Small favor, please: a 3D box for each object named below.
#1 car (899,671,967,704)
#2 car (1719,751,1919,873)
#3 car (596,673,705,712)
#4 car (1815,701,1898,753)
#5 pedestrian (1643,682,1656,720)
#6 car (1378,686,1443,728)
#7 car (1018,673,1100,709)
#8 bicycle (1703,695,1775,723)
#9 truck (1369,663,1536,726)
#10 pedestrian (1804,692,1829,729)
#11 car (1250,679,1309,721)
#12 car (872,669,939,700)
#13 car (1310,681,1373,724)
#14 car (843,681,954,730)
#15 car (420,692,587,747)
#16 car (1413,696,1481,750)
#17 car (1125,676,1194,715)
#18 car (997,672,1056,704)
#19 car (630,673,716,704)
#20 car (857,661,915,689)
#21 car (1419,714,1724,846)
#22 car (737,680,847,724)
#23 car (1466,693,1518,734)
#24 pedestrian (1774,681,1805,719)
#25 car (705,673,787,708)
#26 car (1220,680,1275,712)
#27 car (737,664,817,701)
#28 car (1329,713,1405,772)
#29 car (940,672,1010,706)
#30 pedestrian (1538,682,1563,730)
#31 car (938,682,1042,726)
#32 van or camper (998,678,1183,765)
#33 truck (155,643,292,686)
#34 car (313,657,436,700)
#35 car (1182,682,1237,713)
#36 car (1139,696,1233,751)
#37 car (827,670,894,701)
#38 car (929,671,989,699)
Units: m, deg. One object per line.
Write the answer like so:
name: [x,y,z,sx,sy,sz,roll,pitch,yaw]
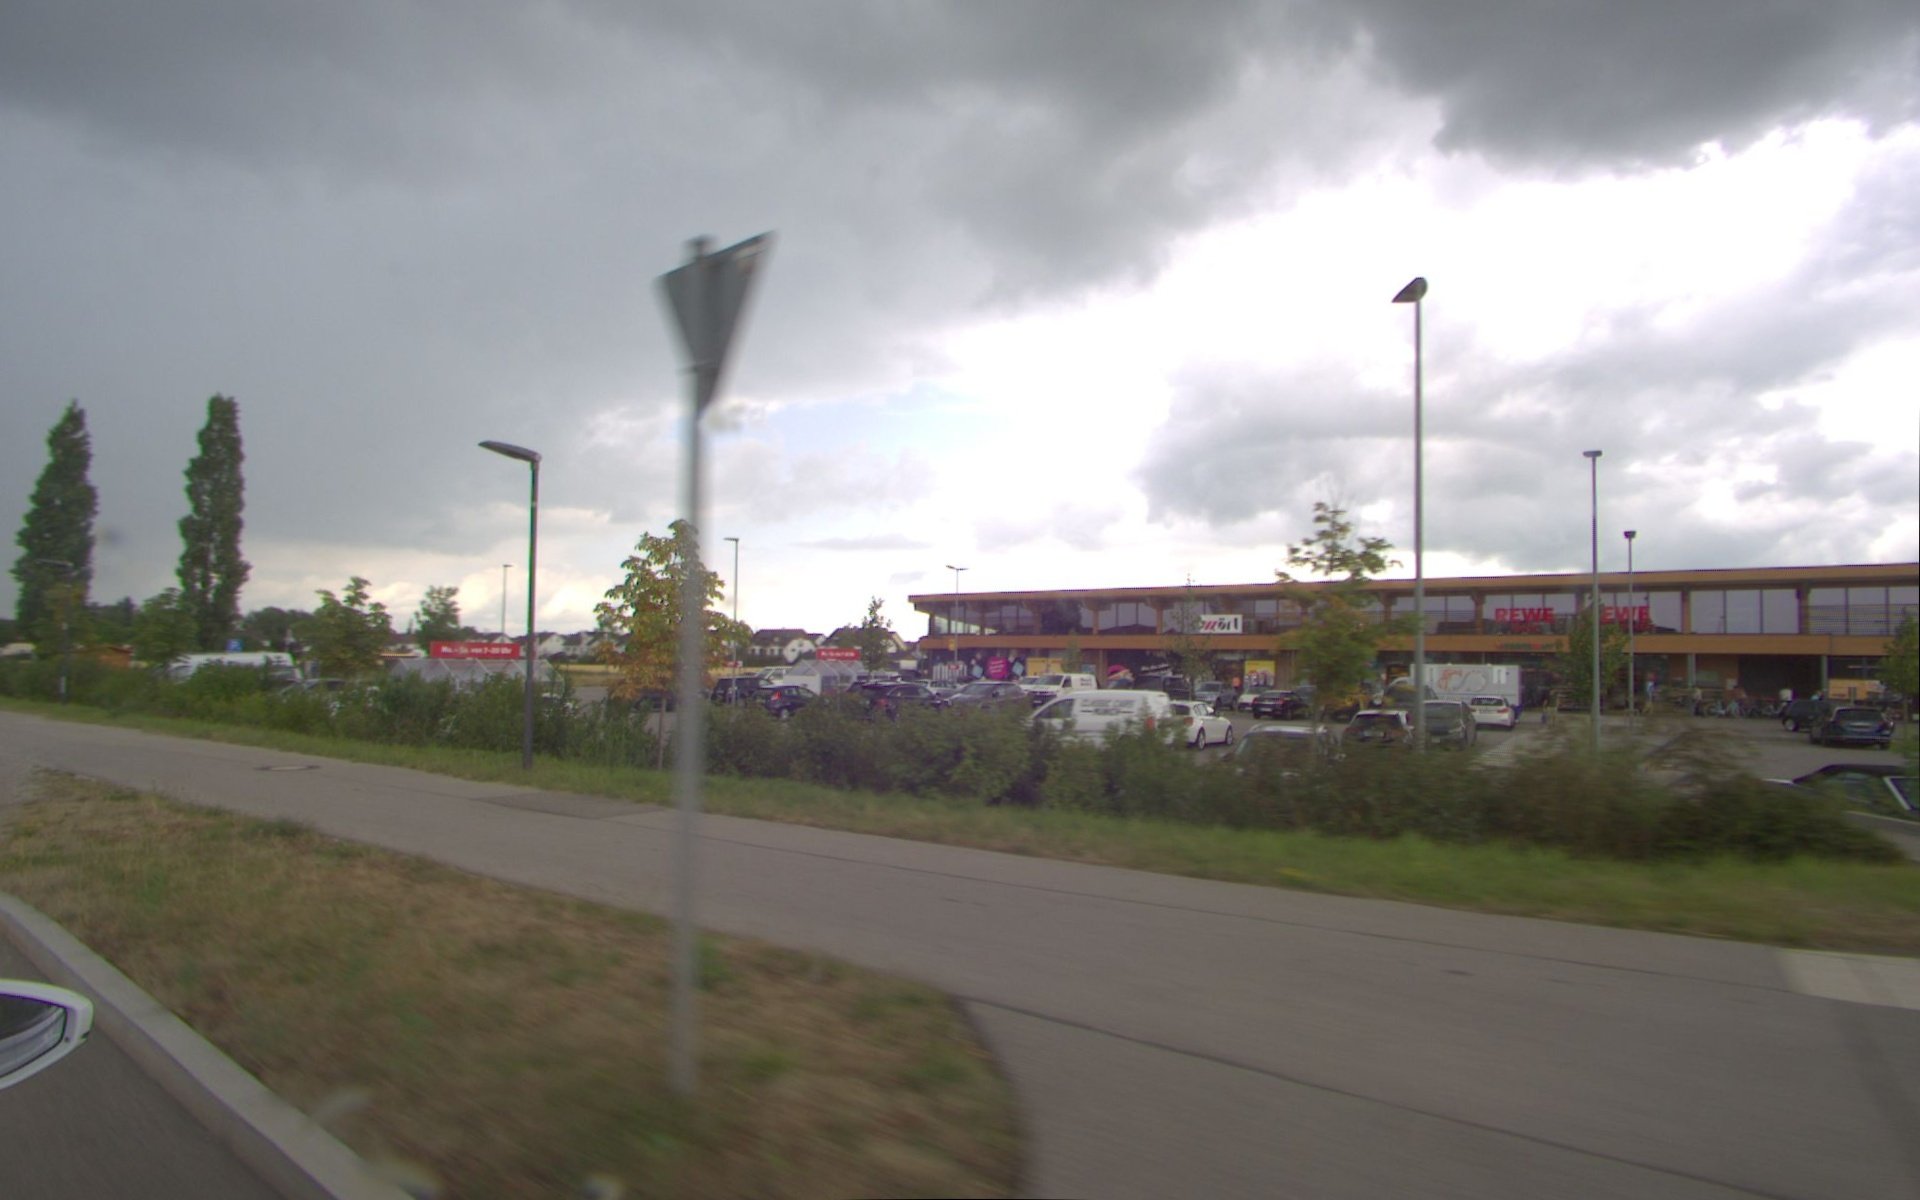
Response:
car: [-1.590,5.220,59.991,1.976,1.859,3.974,-2,-5,39]
car: [13.680,3.124,15.124,1.550,1.388,3.737,1,-4,0]
car: [-14.343,4.271,46.634,1.975,1.684,4.545,-2,-4,37]
car: [31.859,4.475,35.680,1.692,1.587,3.652,-1,-4,34]
pedestrian: [36.576,5.345,53.127,0.518,1.972,0.575,-1,-3,36]
car: [19.871,4.675,44.049,1.828,1.745,4.099,-3,-6,35]
car: [5.419,4.884,54.068,1.975,1.853,5.273,-3,-5,36]
bicycle: [39.785,5.554,51.184,2.832,1.325,0.974,-2,-4,36]
truck: [24.336,4.590,49.615,7.155,2.841,2.964,-1,-4,32]
pedestrian: [40.273,5.169,47.095,0.794,1.678,0.746,-1,-3,35]
car: [15.342,4.765,47.989,1.747,1.877,3.983,-2,-5,32]
car: [-3.333,5.234,62.119,1.977,1.859,3.972,-3,-5,40]
car: [17.704,4.702,46.341,1.750,1.877,3.978,-2,-5,36]
car: [-2.243,3.962,37.994,1.780,1.726,4.441,-2,-5,36]
car: [-13.939,3.605,30.774,1.975,1.457,4.222,-2,-4,37]
car: [16.432,4.082,33.729,1.706,1.572,3.984,-1,-4,31]
car: [10.256,4.922,51.358,1.974,1.858,3.980,-2,-7,36]
car: [4.210,5.522,62.928,1.774,1.916,4.094,-2,-5,35]
car: [-15.690,4.820,54.957,1.746,1.597,4.299,-2,-5,38]
car: [-5.177,5.294,70.684,1.853,1.862,3.971,-2,-5,40]
car: [7.045,2.036,12.027,1.548,1.220,3.762,2,-6,4]
car: [-6.961,4.201,41.793,1.975,1.684,4.392,-2,-4,37]
car: [22.582,4.773,42.440,1.706,1.548,3.984,-1,-4,31]
pedestrian: [43.075,5.199,51.995,0.910,1.920,0.795,2,-5,1]
car: [-10.964,4.620,51.452,1.694,1.726,3.978,-2,-5,36]
car: [15.683,5.201,54.506,1.744,1.673,3.875,-2,-5,34]
car: [-10.763,4.830,59.297,1.968,2.038,5.111,0,-3,26]
car: [11.065,3.830,27.343,1.805,1.414,3.998,0,-6,21]
car: [0.901,5.167,58.241,1.977,1.860,3.971,-2,-5,40]
pedestrian: [26.175,4.685,44.397,0.918,2.038,0.802,-1,-3,32]
car: [1.339,4.357,42.583,1.974,1.684,4.962,-2,-4,36]
van or camper: [3.508,3.227,27.321,4.740,2.123,1.757,-2,-5,34]
truck: [-34.617,3.088,47.220,1.972,1.894,4.791,-2,-5,32]
car: [-24.109,3.247,41.345,1.901,1.704,3.912,-2,-5,35]
car: [13.915,5.373,55.720,1.743,1.631,4.207,-2,-5,33]
car: [7.085,3.783,31.132,1.659,1.502,3.980,-2,-5,32]
car: [-6.263,5.392,63.106,1.977,1.860,3.972,-2,-5,40]
car: [-0.031,5.633,66.636,1.976,1.793,3.974,-2,-5,39]
